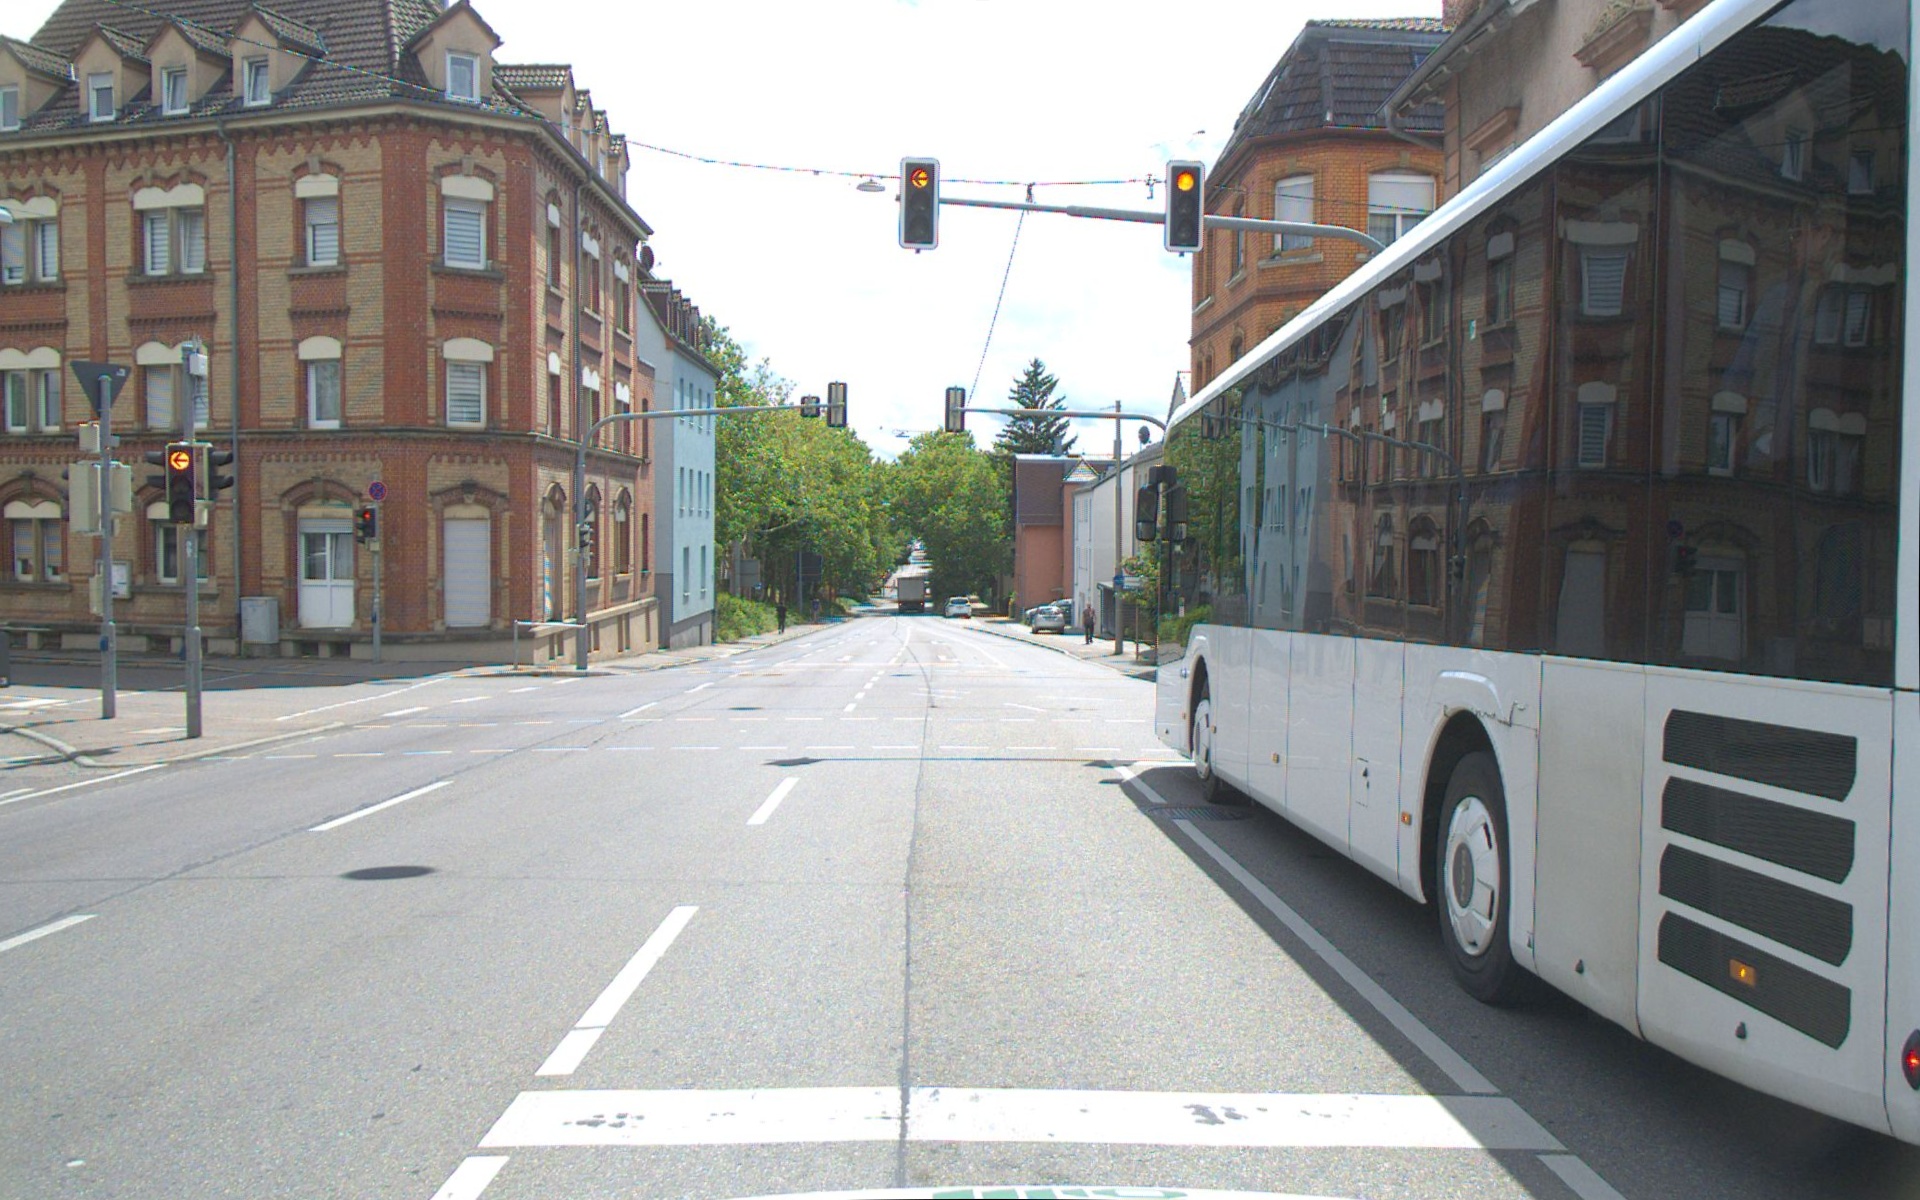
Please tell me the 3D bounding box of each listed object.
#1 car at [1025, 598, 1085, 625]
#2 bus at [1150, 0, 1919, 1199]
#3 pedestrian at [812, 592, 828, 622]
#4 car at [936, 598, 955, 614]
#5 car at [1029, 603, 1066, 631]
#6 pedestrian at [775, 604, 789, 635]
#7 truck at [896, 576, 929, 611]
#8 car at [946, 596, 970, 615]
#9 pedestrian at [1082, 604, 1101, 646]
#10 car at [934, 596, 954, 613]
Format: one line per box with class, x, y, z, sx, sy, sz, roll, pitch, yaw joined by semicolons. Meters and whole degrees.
car;6.490;0.782;113.249;3.909;1.788;1.998;-1;0;-6
bus;3.202;-0.060;9.322;2.618;3.211;12.459;1;0;-1
pedestrian;-9.703;0.496;114.622;0.974;2.049;1.188;0;0;-1
car;-1.330;0.519;153.898;1.757;1.434;4.418;1;0;0
car;4.915;0.948;93.124;1.758;1.434;3.999;-1;1;-2
pedestrian;-9.236;1.005;85.885;0.714;1.592;0.560;0;0;-2
truck;-4.557;-0.649;156.216;2.868;3.135;7.881;-1;0;-3
car;-0.183;0.459;129.489;1.758;1.434;3.999;1;0;-1
pedestrian;5.664;1.061;71.301;0.723;1.781;0.619;-1;0;-1
car;-1.400;0.408;145.791;1.757;1.434;4.418;1;0;0
